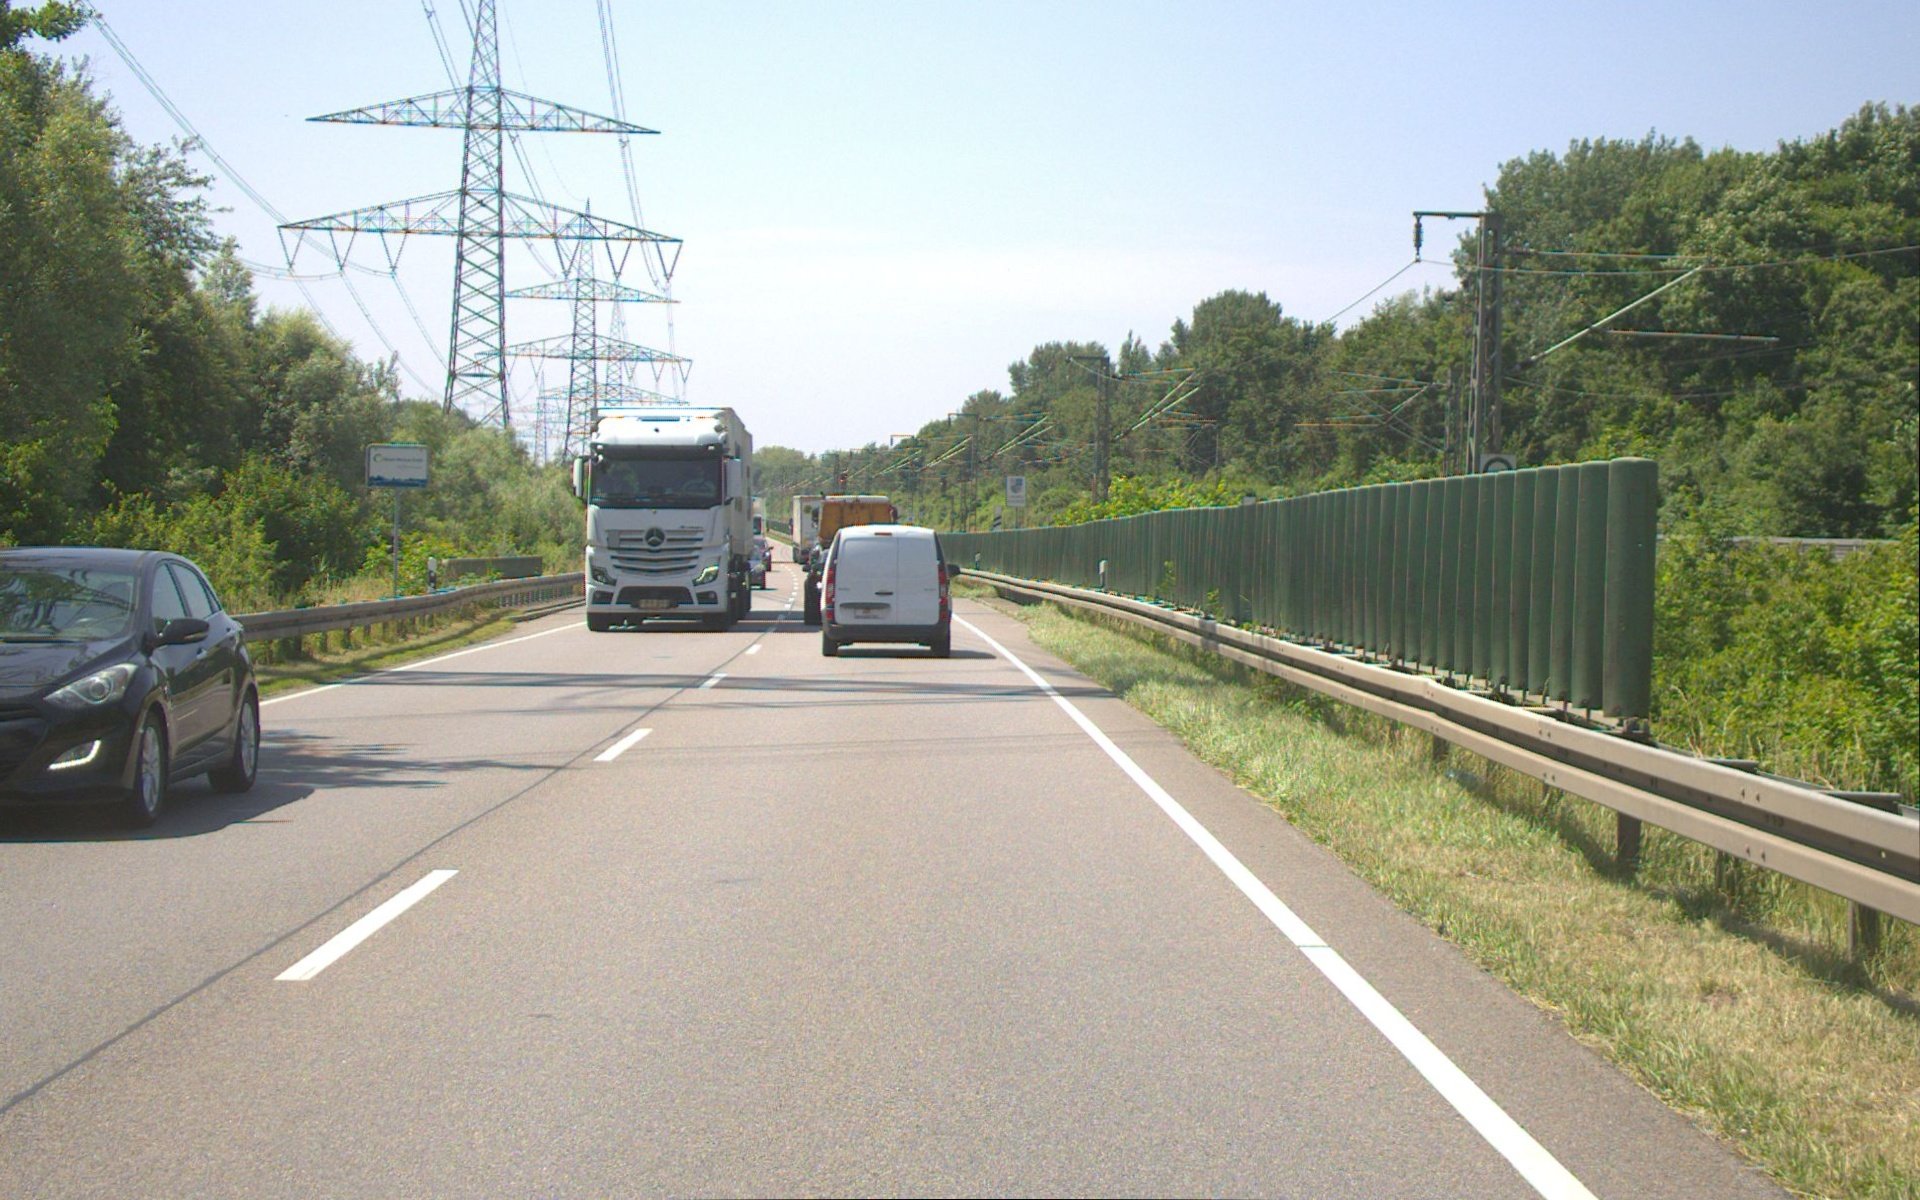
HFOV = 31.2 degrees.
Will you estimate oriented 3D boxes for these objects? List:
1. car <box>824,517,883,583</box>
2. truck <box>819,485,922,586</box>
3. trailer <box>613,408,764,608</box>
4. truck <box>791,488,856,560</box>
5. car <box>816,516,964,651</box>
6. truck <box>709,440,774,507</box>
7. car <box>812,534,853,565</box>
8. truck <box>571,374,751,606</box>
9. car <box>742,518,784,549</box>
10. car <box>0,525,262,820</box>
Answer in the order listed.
[{"bbox_3d":[-3.460,-1.639,111.431,1.763,2.007,4.001,3,1,-2],"label":"car"},{"bbox_3d":[-3.287,-2.407,123.007,3.296,3.161,14.407,4,2,-2],"label":"truck"},{"bbox_3d":[-5.744,-1.956,74.065,2.719,4.028,9.075,0,1,-1],"label":"trailer"},{"bbox_3d":[-8.245,-4.630,205.028,3.402,3.841,16.821,4,2,-3],"label":"truck"},{"bbox_3d":[-1.018,-0.255,47.821,1.875,1.735,4.001,2,1,-3],"label":"car"},{"bbox_3d":[-13.781,-8.023,218.138,3.402,3.841,16.820,4,2,-2],"label":"truck"},{"bbox_3d":[-6.391,-2.550,172.560,1.993,1.521,4.000,1,1,-2],"label":"car"},{"bbox_3d":[-5.490,-2.018,64.657,2.742,4.028,9.665,0,1,-1],"label":"truck"},{"bbox_3d":[-9.883,-3.339,172.955,1.993,1.521,4.000,1,1,-2],"label":"car"},{"bbox_3d":[-5.154,0.313,18.943,1.801,1.449,4.000,0,1,0],"label":"car"}]
